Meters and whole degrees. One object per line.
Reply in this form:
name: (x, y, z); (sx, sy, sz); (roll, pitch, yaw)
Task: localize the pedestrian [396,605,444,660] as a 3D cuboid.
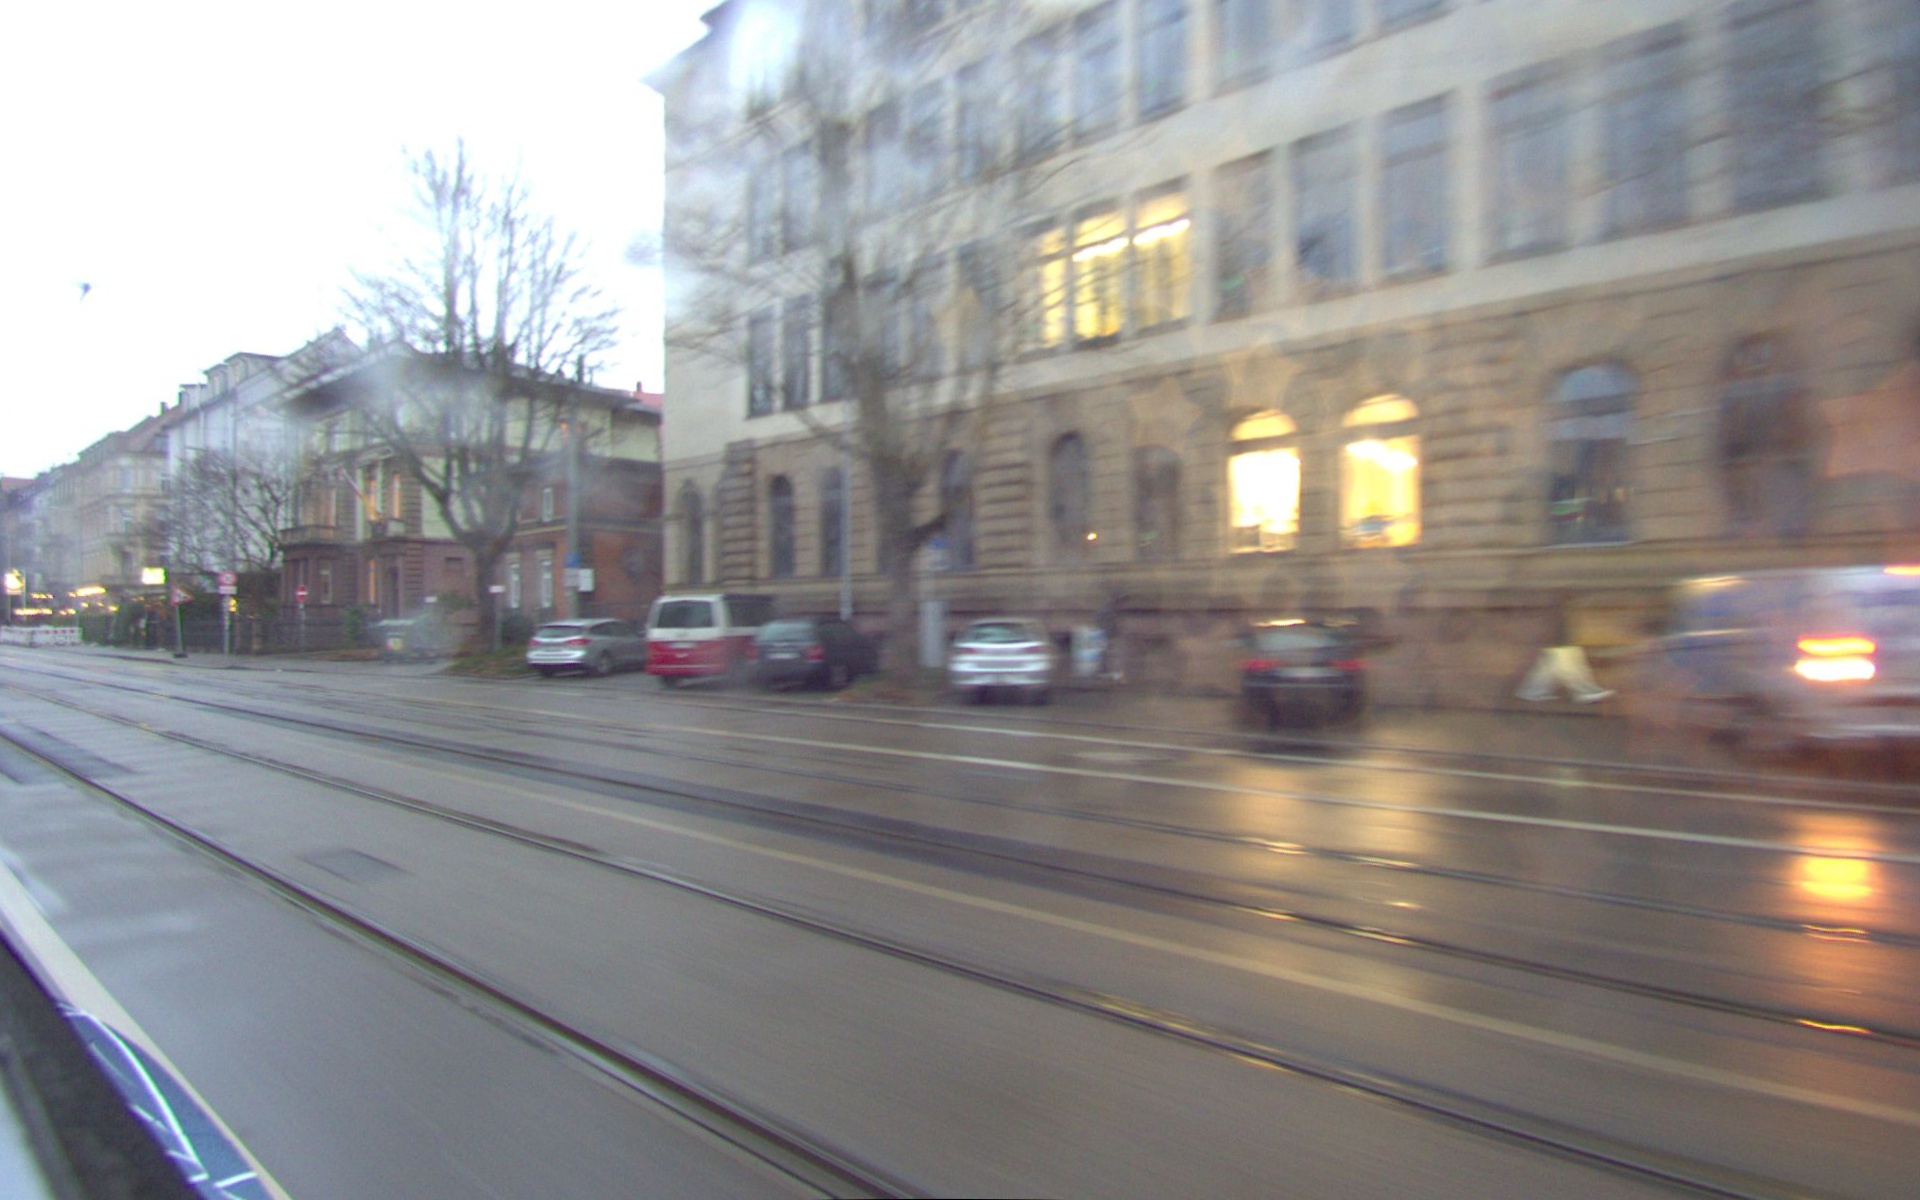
pedestrian: (-17.470, 1.032, 32.753); (0.940, 1.716, 0.918); (-1, 1, 18)

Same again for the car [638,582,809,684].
car: (-5.219, 0.650, 23.073); (1.946, 2.069, 4.603); (-1, 1, 13)

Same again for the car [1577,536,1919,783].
car: (8.897, 0.439, 10.739); (1.887, 2.049, 4.800); (-1, 1, 3)

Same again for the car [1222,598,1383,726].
car: (4.771, 0.769, 14.663); (1.782, 1.468, 4.458); (-1, 1, 14)

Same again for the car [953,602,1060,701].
car: (0.918, 0.832, 17.939); (1.618, 1.468, 3.819); (-1, 1, 7)

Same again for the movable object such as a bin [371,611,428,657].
movable object such as a bin: (-18.884, 1.141, 34.110); (1.326, 1.475, 0.985); (-1, 1, 3)

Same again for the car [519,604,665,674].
car: (-9.680, 0.986, 26.973); (1.756, 1.603, 4.171); (-1, 1, 11)

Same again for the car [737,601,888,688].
car: (-2.957, 0.852, 21.172); (1.805, 1.551, 3.961); (-1, 1, 13)
